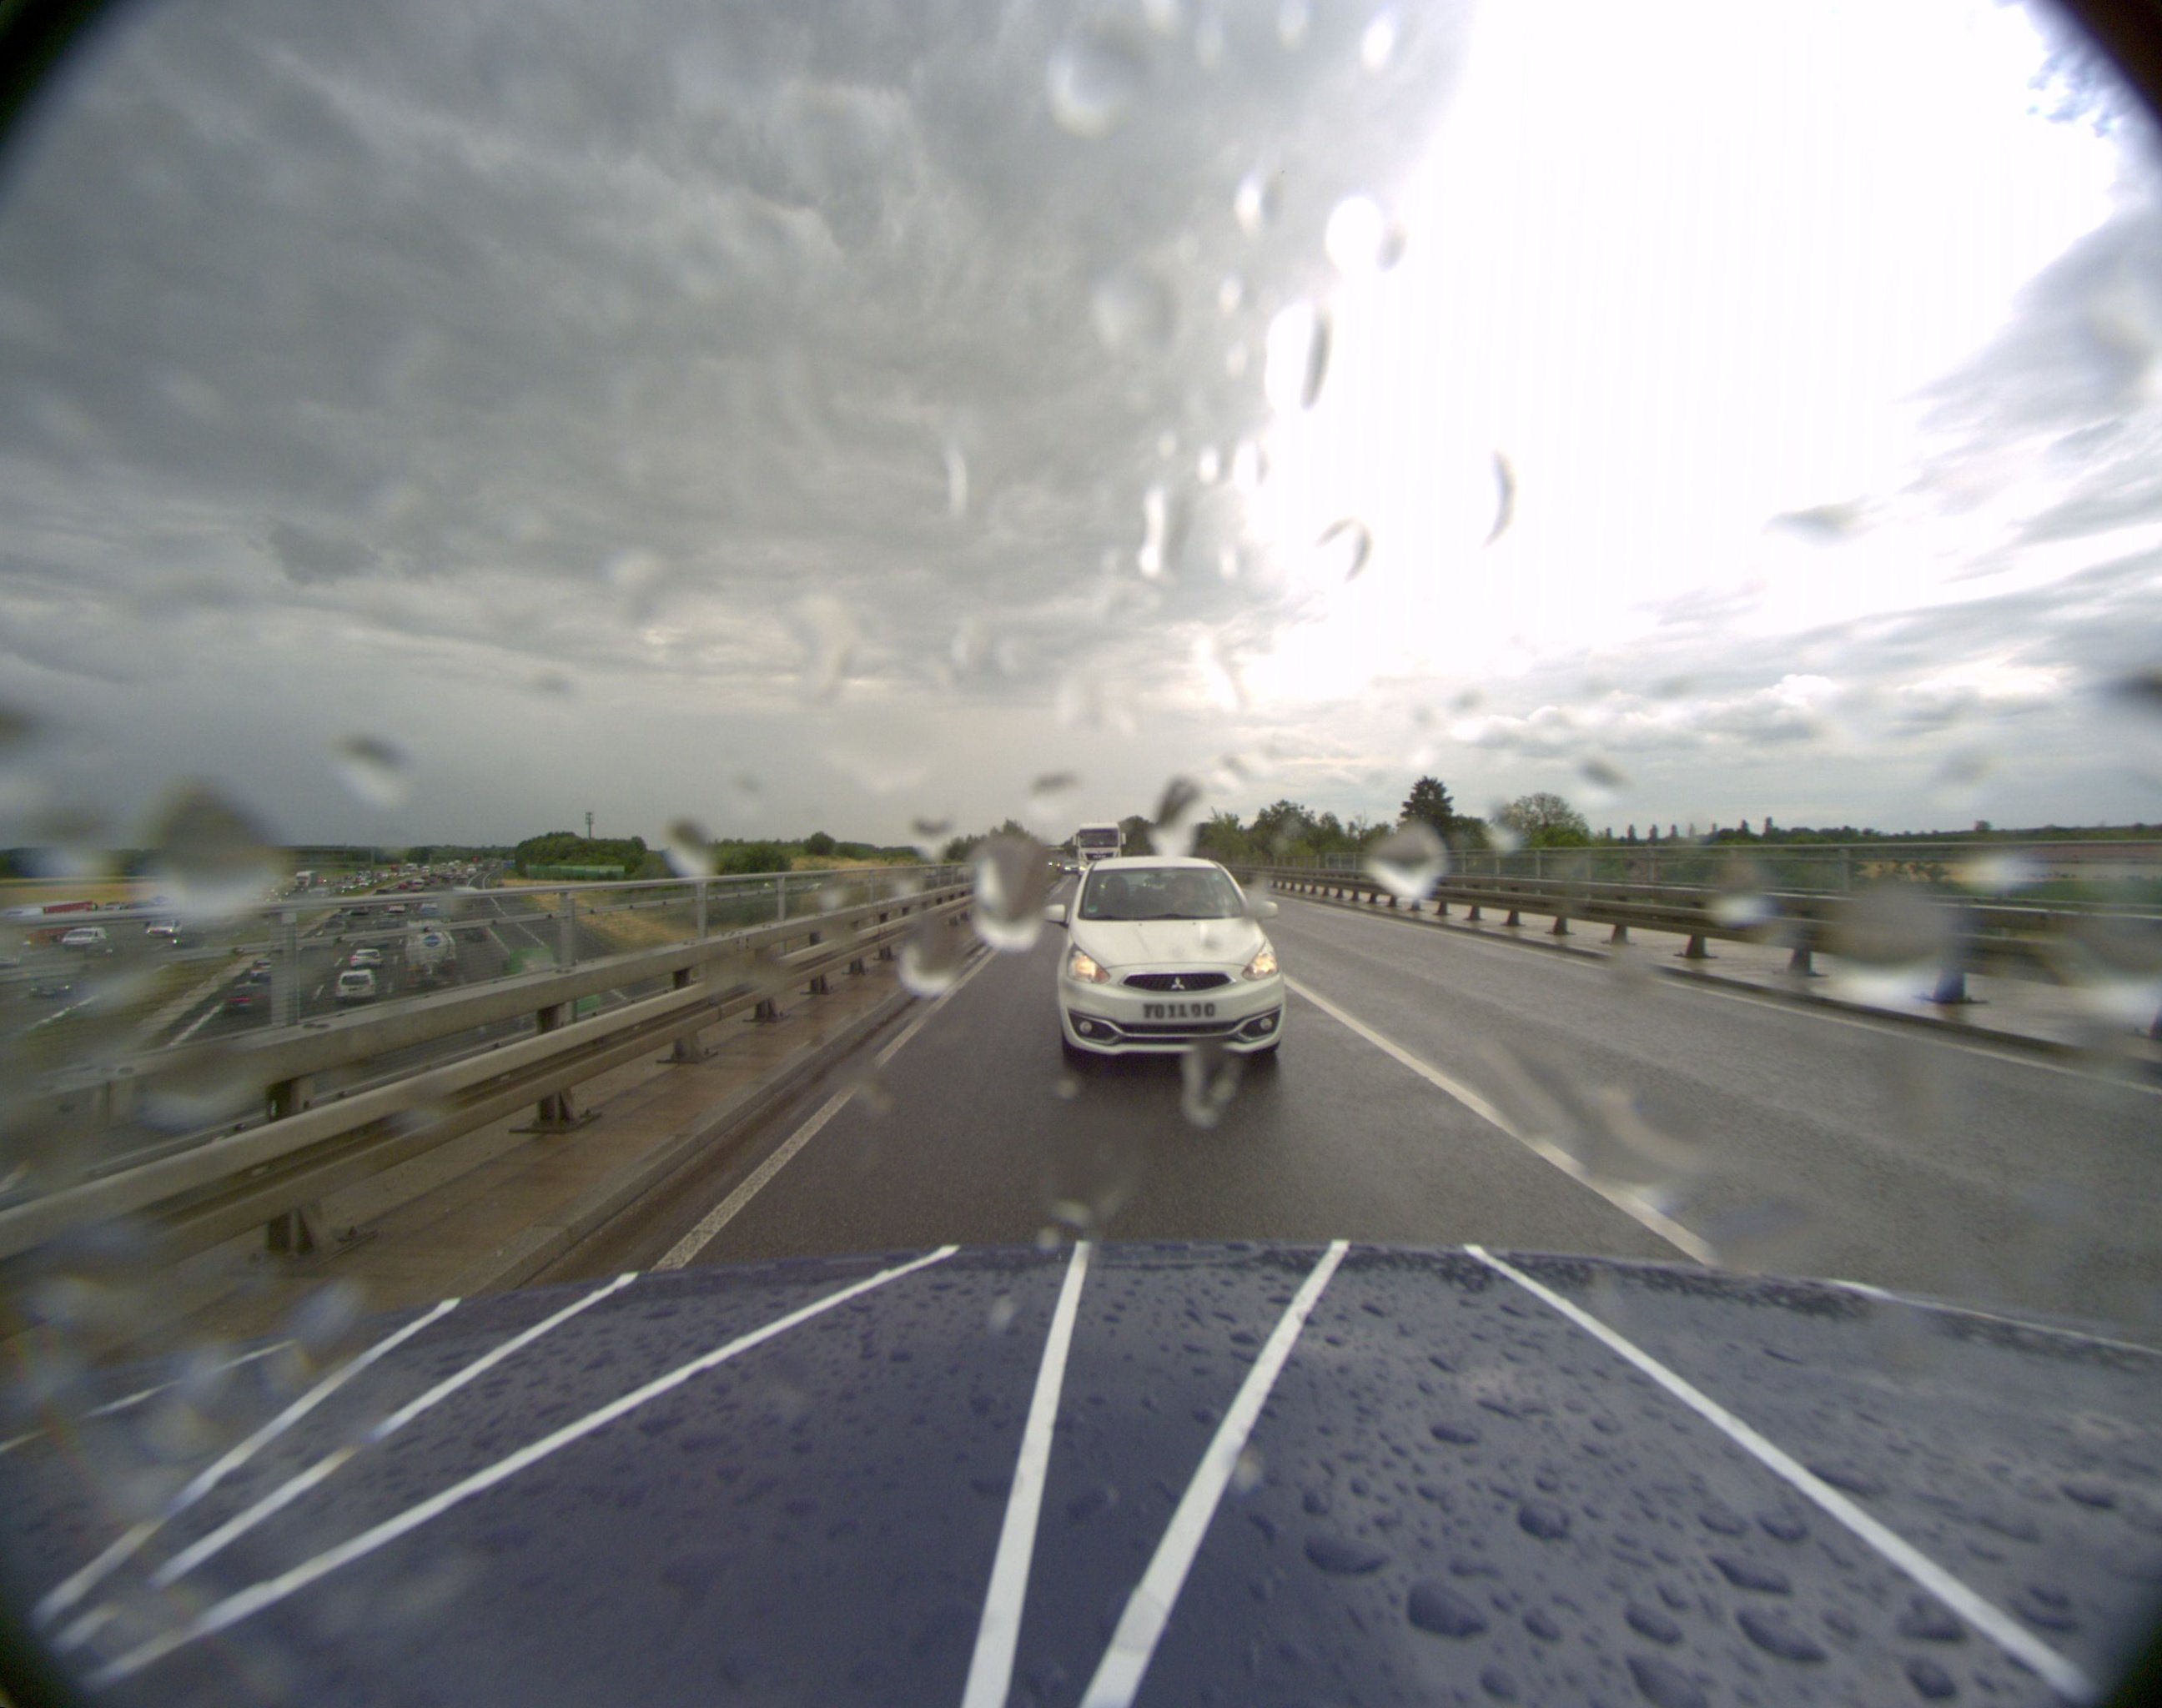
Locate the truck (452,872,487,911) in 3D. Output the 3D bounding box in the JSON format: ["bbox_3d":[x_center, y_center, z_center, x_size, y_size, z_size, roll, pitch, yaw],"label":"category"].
[{"bbox_3d":[-93.467,5.609,115.955,3.499,5.322,15.587,-3,1,-40],"label":"truck"}]

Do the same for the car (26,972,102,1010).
[{"bbox_3d":[-67.247,9.007,50.328,1.818,1.659,4.711,-3,1,-39],"label":"car"}]

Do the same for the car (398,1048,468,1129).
[{"bbox_3d":[-24.978,8.937,29.375,1.860,1.659,4.711,-3,1,-40],"label":"car"}]

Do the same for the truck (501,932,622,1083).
[{"bbox_3d":[-27.365,7.274,39.474,3.302,5.135,15.587,-3,1,-40],"label":"truck"}]

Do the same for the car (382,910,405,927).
[{"bbox_3d":[-85.864,8.026,94.891,1.860,1.764,4.711,-3,1,-40],"label":"car"}]

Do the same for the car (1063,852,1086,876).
[{"bbox_3d":[-0.612,0.932,74.889,1.998,2.002,3.999,-5,2,1],"label":"car"}]

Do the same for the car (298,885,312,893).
[{"bbox_3d":[-185.267,8.342,181.411,1.860,1.659,4.711,-3,1,-40],"label":"car"}]

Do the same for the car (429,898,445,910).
[{"bbox_3d":[-105.750,8.187,124.812,1.860,1.764,4.711,-3,1,-40],"label":"car"}]

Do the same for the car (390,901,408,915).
[{"bbox_3d":[-105.122,8.265,117.151,1.860,1.764,4.711,-3,1,-40],"label":"car"}]

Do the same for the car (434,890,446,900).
[{"bbox_3d":[-130.044,8.232,154.175,1.860,1.764,4.711,-3,1,-40],"label":"car"}]

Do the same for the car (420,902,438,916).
[{"bbox_3d":[-95.591,8.020,111.401,1.860,1.764,4.711,-3,1,-40],"label":"car"}]

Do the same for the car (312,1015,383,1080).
[{"bbox_3d":[-32.426,8.479,33.722,1.860,1.659,4.711,-3,1,-40],"label":"car"}]

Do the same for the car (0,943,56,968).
[{"bbox_3d":[-86.838,8.311,62.615,1.818,1.428,4.711,-3,1,-41],"label":"car"}]

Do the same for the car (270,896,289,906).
[{"bbox_3d":[-148.895,8.711,141.171,1.818,1.659,4.711,-3,1,-40],"label":"car"}]

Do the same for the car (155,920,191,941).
[{"bbox_3d":[-101.314,8.509,84.830,1.818,1.836,4.711,-3,1,-41],"label":"car"}]

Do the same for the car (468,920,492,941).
[{"bbox_3d":[-64.259,8.140,81.241,1.860,1.764,4.711,-3,1,-40],"label":"car"}]

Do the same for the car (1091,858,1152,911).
[{"bbox_3d":[1.171,0.867,23.402,1.675,1.367,4.129,-2,1,1],"label":"car"}]

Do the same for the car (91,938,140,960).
[{"bbox_3d":[-88.245,8.637,69.509,1.818,1.428,4.711,-3,1,-41],"label":"car"}]

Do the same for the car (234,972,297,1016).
[{"bbox_3d":[-47.276,8.060,44.132,1.860,1.659,4.711,-3,1,-40],"label":"car"}]

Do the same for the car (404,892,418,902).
[{"bbox_3d":[-133.325,8.475,151.186,1.860,1.764,4.711,-3,1,-40],"label":"car"}]

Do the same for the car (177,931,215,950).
[{"bbox_3d":[-90.851,8.836,78.036,1.818,1.428,4.711,-3,1,-41],"label":"car"}]

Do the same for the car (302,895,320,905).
[{"bbox_3d":[-142.810,8.506,140.931,1.860,1.659,4.711,-3,1,-40],"label":"car"}]

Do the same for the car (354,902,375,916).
[{"bbox_3d":[-106.039,8.173,112.519,1.860,1.764,4.711,-3,1,-40],"label":"car"}]

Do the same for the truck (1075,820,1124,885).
[{"bbox_3d":[1.002,-0.263,46.735,2.630,3.537,8.473,-2,3,0],"label":"truck"}]

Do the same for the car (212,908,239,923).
[{"bbox_3d":[-118.675,8.541,105.444,1.818,1.659,4.711,-3,1,-40],"label":"car"}]

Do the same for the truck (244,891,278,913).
[{"bbox_3d":[-135.324,7.846,125.476,2.600,3.161,8.373,-3,1,-40],"label":"truck"}]

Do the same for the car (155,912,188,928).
[{"bbox_3d":[-117.820,8.501,98.469,1.818,1.659,4.711,-3,1,-40],"label":"car"}]

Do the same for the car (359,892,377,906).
[{"bbox_3d":[-117.598,7.338,125.306,2.003,2.003,3.989,-6,3,-43],"label":"car"}]

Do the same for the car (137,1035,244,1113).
[{"bbox_3d":[-34.416,8.432,29.515,1.860,1.659,4.711,-3,1,-40],"label":"car"}]

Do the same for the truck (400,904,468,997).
[{"bbox_3d":[-49.314,6.953,57.978,3.302,5.411,15.587,-3,1,-40],"label":"truck"}]

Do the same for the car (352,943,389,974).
[{"bbox_3d":[-56.806,8.317,60.806,1.860,1.764,4.711,-3,1,-40],"label":"car"}]

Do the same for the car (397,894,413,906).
[{"bbox_3d":[-117.476,7.982,132.030,1.860,1.764,4.711,-3,1,-40],"label":"car"}]

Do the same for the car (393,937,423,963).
[{"bbox_3d":[-61.112,8.653,69.033,1.860,1.764,4.711,-3,1,-40],"label":"car"}]

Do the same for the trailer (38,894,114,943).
[{"bbox_3d":[-108.835,6.870,82.458,2.691,4.602,9.882,-3,1,-40],"label":"trailer"}]

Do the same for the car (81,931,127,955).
[{"bbox_3d":[-95.981,8.729,74.729,1.818,1.873,4.711,-3,1,-41],"label":"car"}]

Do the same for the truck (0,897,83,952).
[{"bbox_3d":[-102.529,6.830,75.001,2.691,4.600,9.727,-3,1,-40],"label":"truck"}]

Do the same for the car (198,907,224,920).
[{"bbox_3d":[-130.317,8.920,113.830,1.818,1.659,4.711,-3,1,-40],"label":"car"}]

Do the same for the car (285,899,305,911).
[{"bbox_3d":[-134.055,8.697,129.655,1.860,1.659,4.711,-3,1,-40],"label":"car"}]

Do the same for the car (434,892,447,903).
[{"bbox_3d":[-118.948,7.976,141.127,1.860,1.764,4.711,-3,1,-40],"label":"car"}]

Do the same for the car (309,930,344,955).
[{"bbox_3d":[-71.492,8.353,72.028,1.860,1.764,4.711,-3,1,-40],"label":"car"}]

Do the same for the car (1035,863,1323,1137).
[{"bbox_3d":[0.617,0.907,6.622,1.675,1.476,4.129,-2,1,1],"label":"car"}]

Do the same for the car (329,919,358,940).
[{"bbox_3d":[-79.403,8.097,81.843,1.860,1.764,4.711,-3,1,-40],"label":"car"}]

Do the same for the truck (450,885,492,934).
[{"bbox_3d":[-77.925,6.858,96.891,3.499,5.322,15.587,-3,1,-40],"label":"truck"}]

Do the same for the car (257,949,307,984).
[{"bbox_3d":[-56.987,8.000,54.283,1.860,1.764,4.711,-3,1,-40],"label":"car"}]

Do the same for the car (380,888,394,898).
[{"bbox_3d":[-140.839,7.915,154.229,1.860,1.764,4.711,-3,1,-40],"label":"car"}]

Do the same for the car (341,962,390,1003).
[{"bbox_3d":[-44.710,7.996,47.548,1.860,1.764,4.711,-3,1,-40],"label":"car"}]
